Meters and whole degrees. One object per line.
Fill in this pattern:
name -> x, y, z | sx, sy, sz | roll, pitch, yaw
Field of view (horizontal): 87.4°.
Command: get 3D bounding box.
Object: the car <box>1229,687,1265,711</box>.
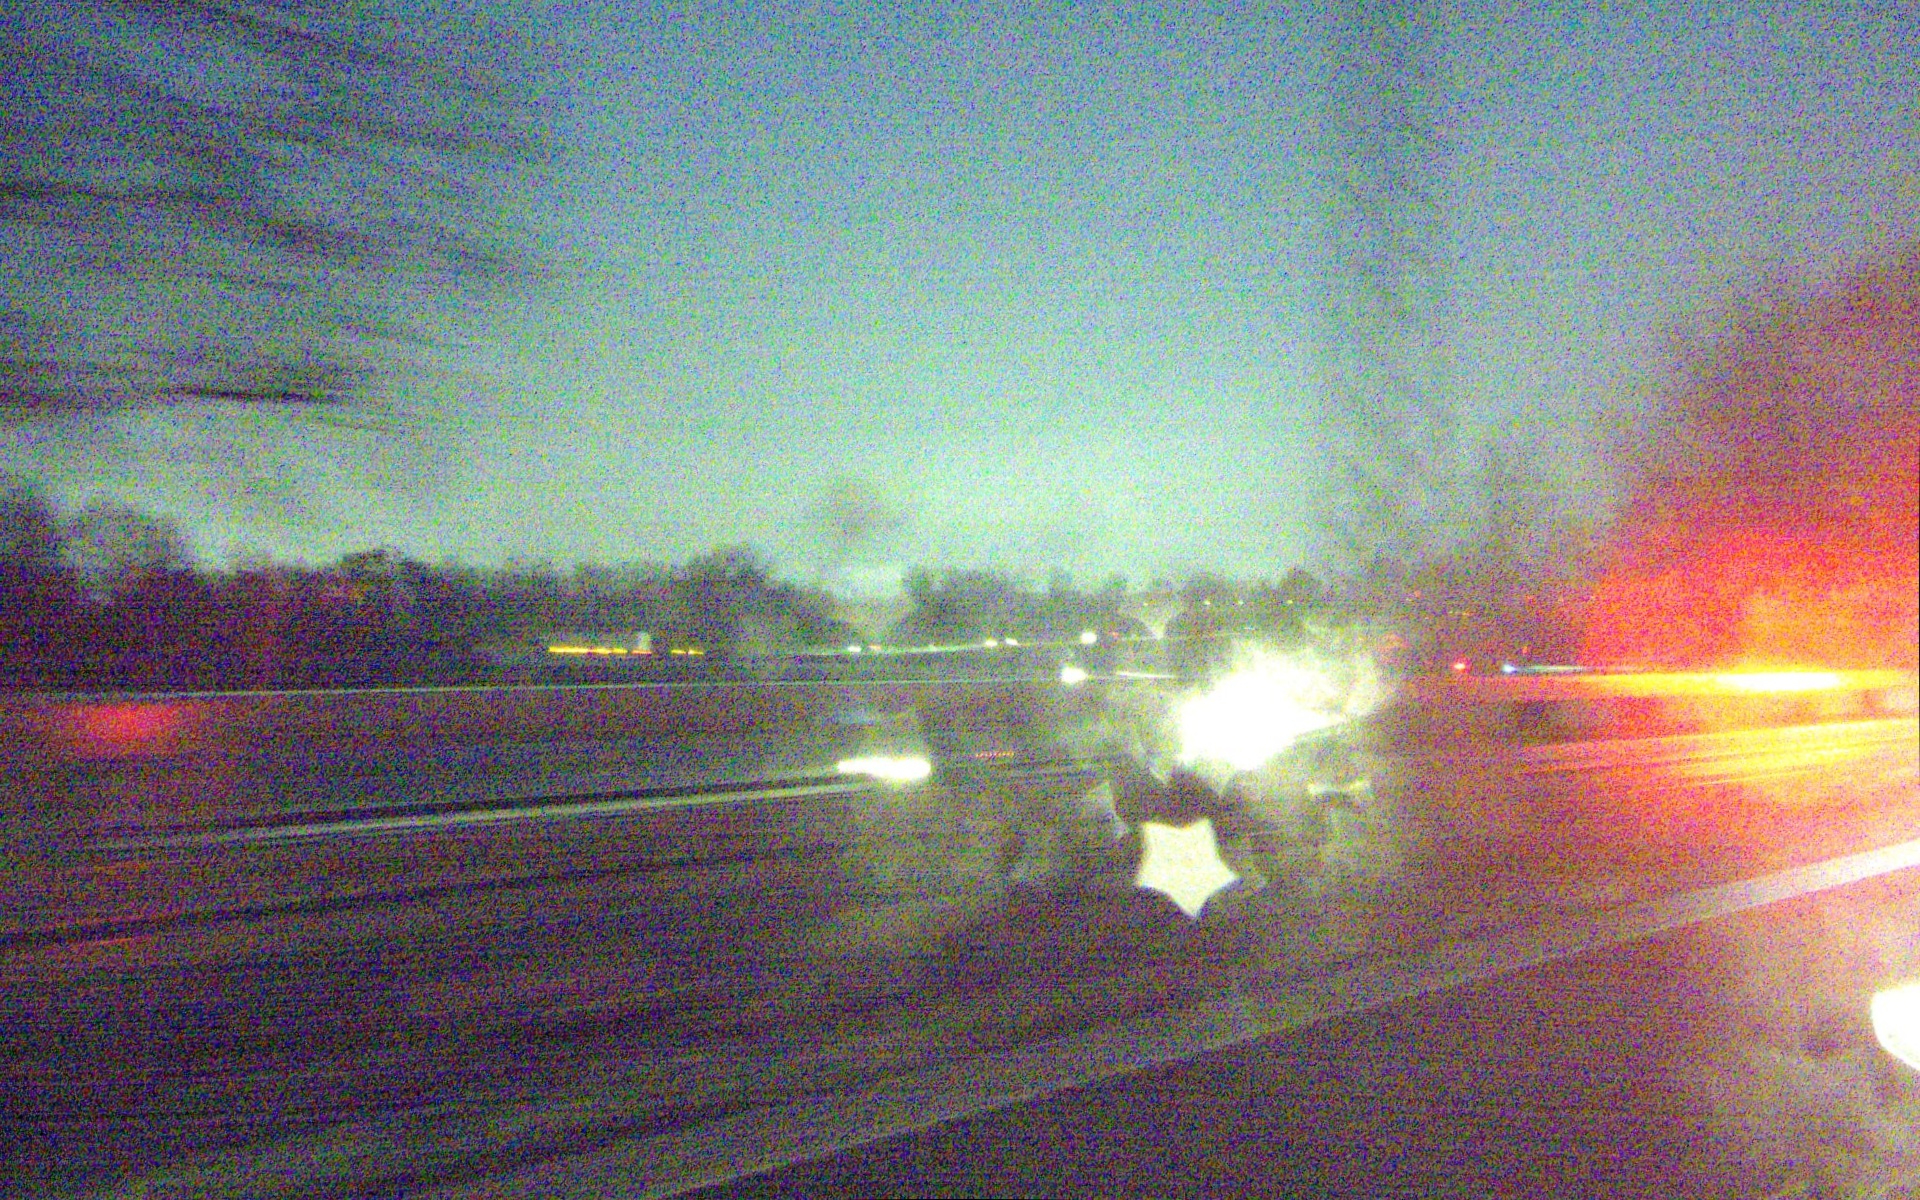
car -> 19.563, 6.735, 68.548 | 1.710, 1.444, 4.103 | 1, -3, 6

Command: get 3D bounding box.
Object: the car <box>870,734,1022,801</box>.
car -> -0.329, 4.569, 27.779 | 4.013, 1.509, 1.744 | 4, -5, -40
